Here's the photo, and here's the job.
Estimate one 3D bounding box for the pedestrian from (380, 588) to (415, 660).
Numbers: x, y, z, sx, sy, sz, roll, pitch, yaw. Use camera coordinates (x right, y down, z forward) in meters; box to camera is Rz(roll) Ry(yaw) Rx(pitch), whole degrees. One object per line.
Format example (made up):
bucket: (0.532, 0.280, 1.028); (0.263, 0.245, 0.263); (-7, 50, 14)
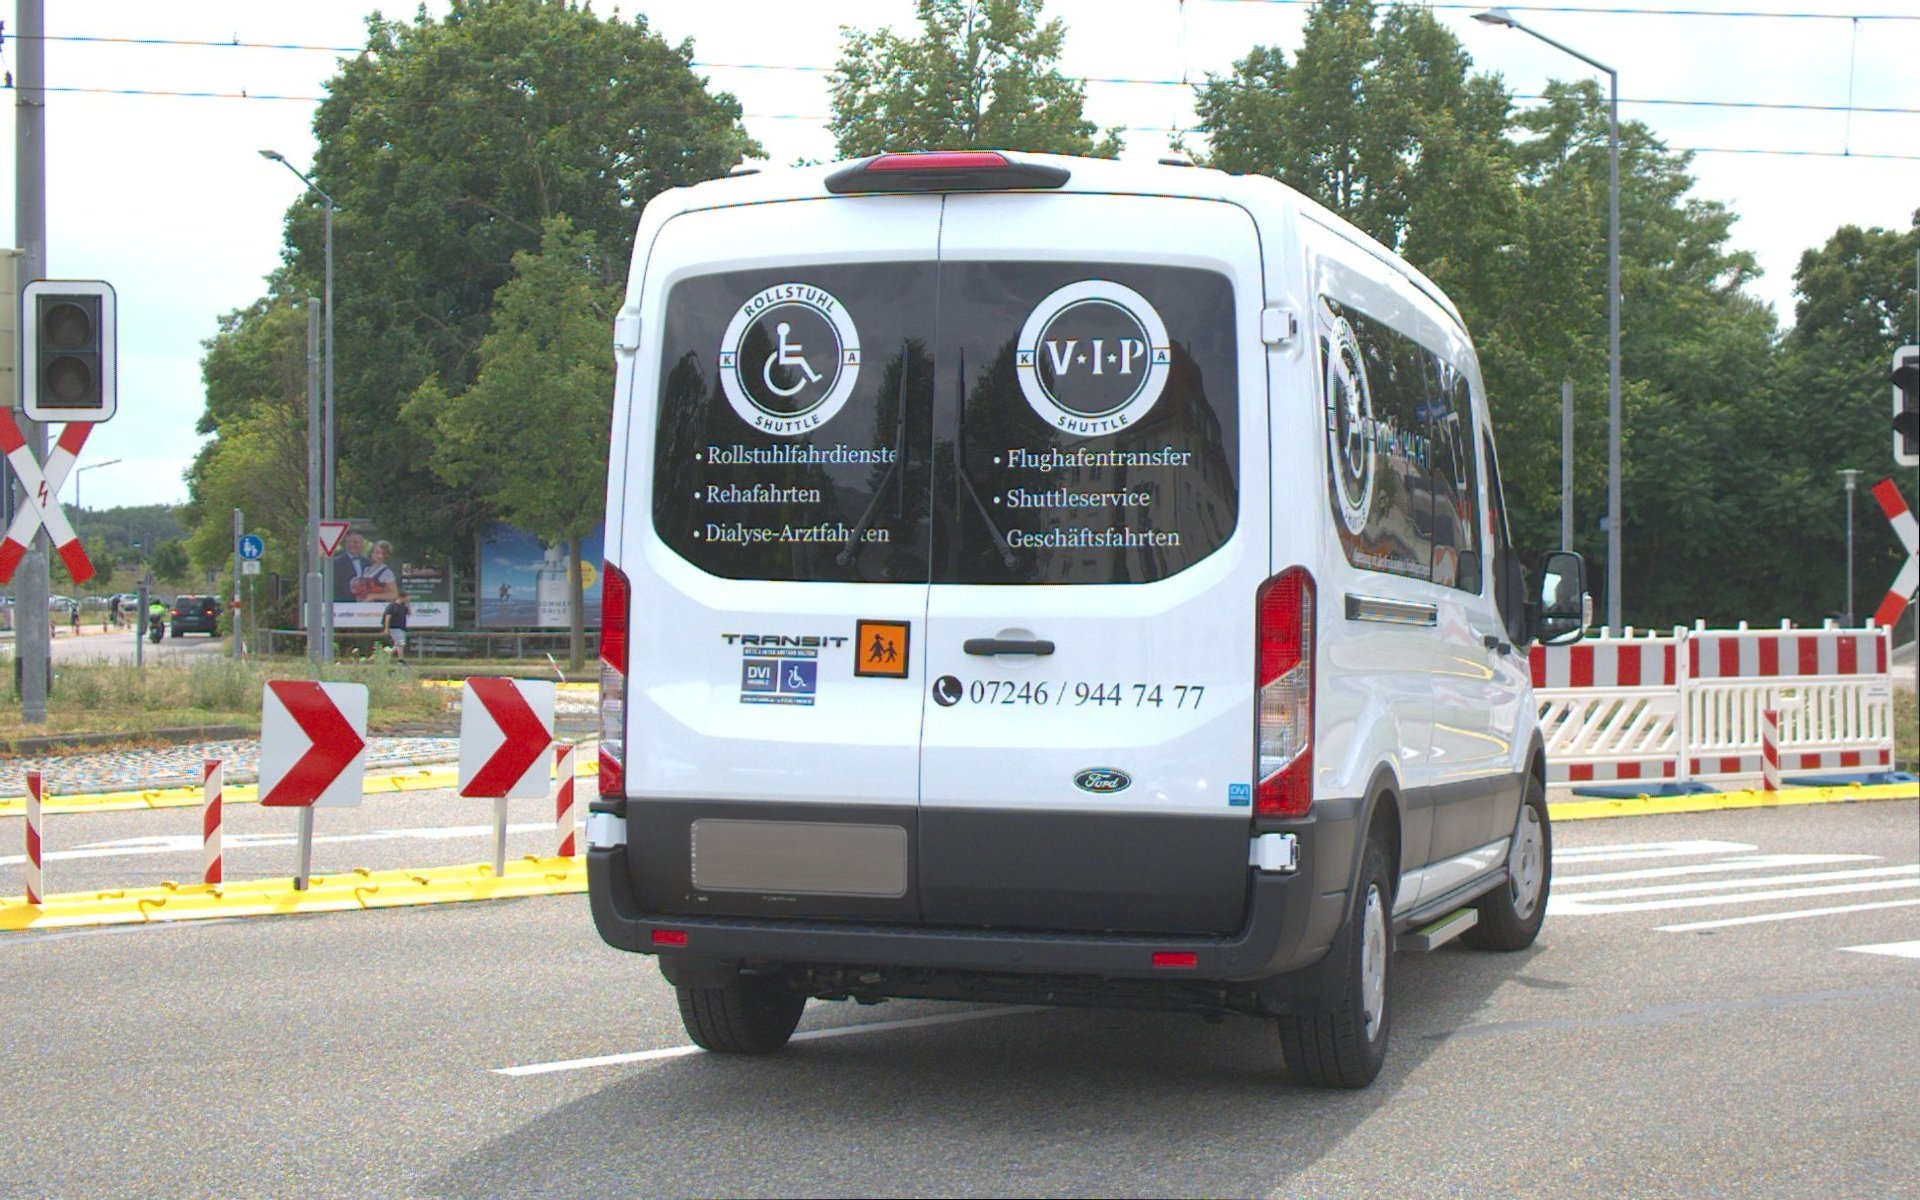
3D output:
pedestrian: (-12.467, 0.531, 76.170); (0.447, 1.588, 0.671); (0, 0, 26)

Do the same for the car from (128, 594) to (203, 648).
car: (-27.985, 0.767, 121.229); (1.993, 1.842, 4.000); (1, -1, -5)

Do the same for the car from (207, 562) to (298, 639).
car: (-19.343, 0.035, 93.914); (1.993, 2.007, 4.001); (1, -1, -18)

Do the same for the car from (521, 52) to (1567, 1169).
car: (0.644, 0.016, 11.268); (2.128, 2.688, 5.627); (0, 0, 15)

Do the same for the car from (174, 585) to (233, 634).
car: (-30.196, 0.392, 137.237); (1.993, 1.842, 4.001); (1, -1, -8)

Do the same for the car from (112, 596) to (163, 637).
car: (-38.056, 0.774, 159.076); (1.993, 1.842, 4.001); (1, -1, -9)
